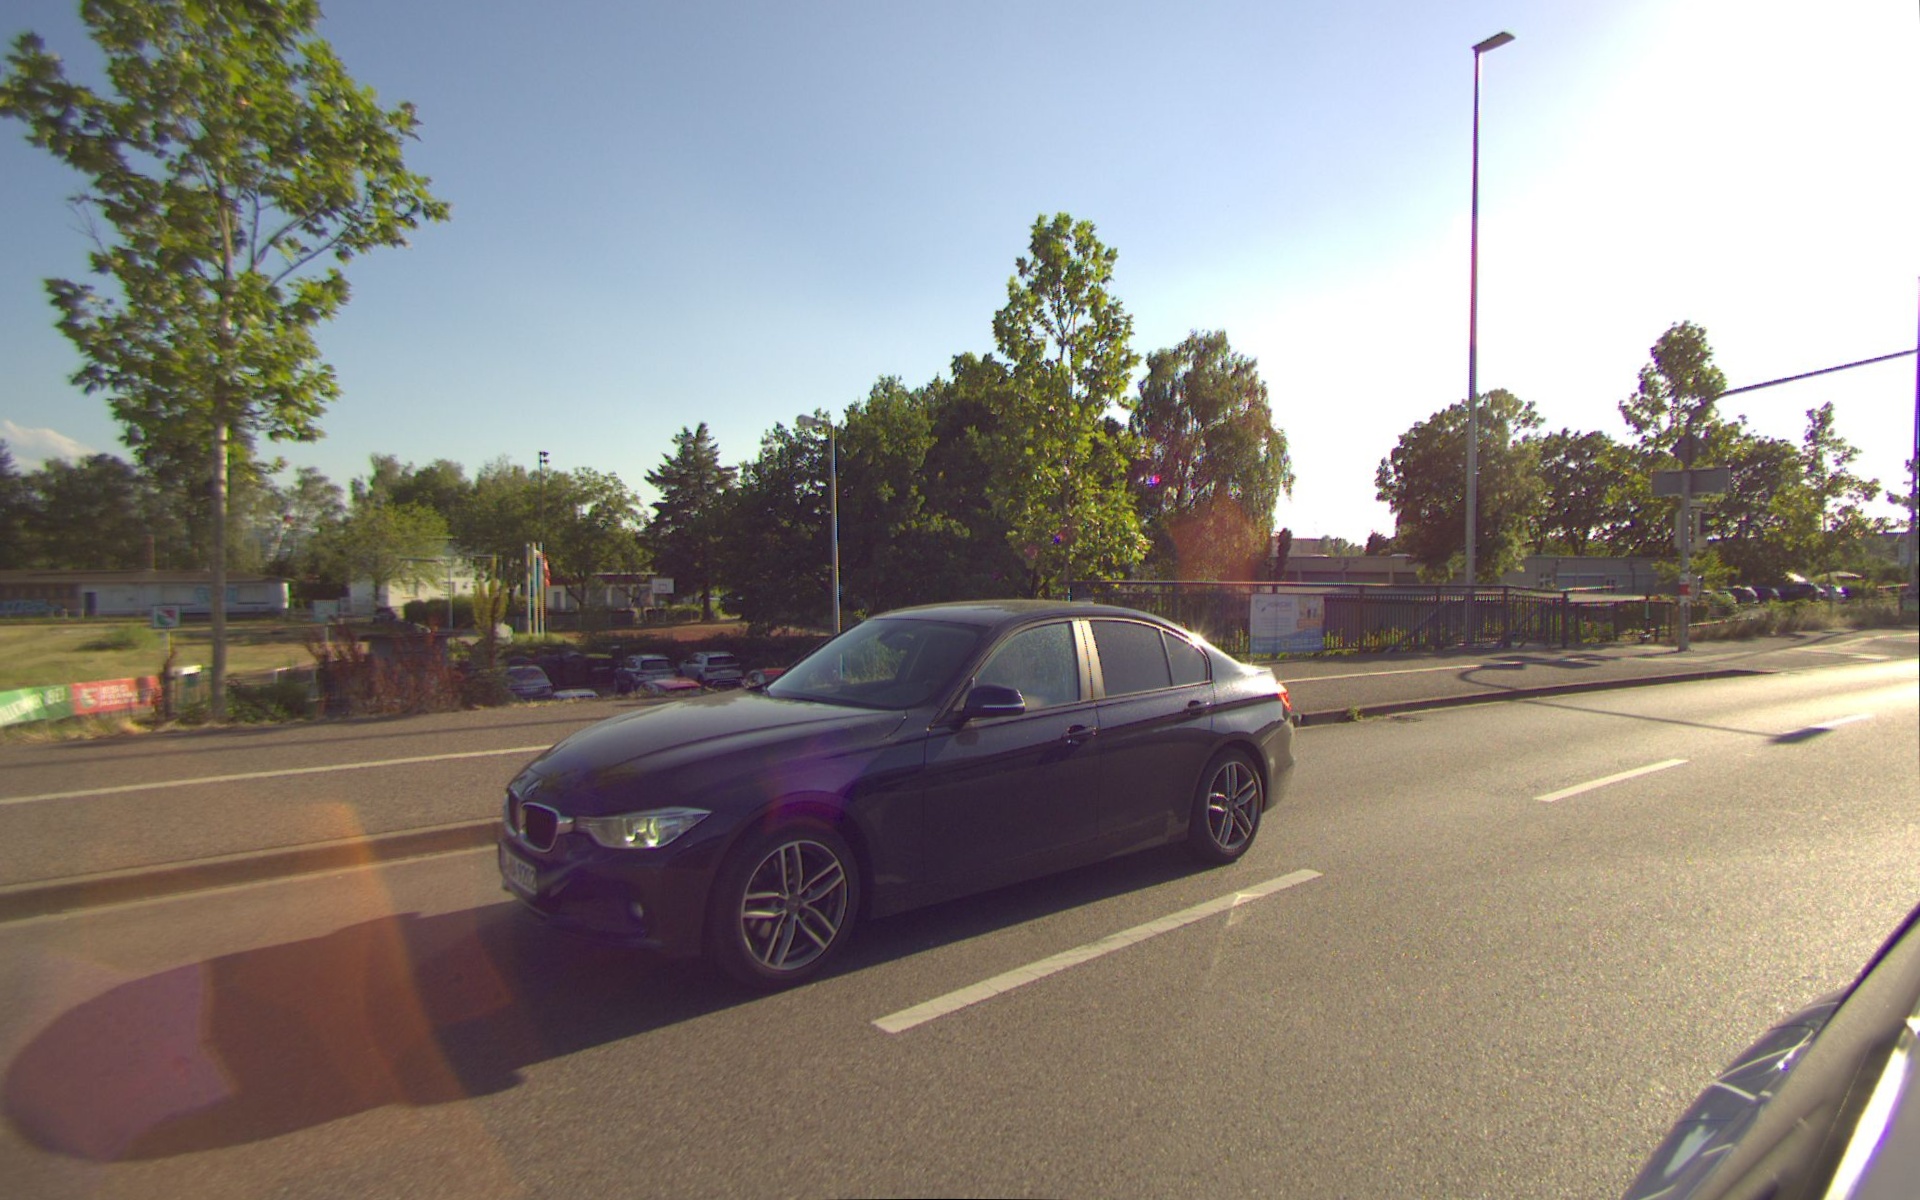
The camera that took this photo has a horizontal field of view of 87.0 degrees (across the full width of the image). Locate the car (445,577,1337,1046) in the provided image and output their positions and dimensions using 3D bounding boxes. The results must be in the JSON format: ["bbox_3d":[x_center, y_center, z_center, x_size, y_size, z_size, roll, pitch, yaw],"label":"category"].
[{"bbox_3d":[-0.051,0.630,5.376,4.504,1.485,1.870,-1,1,-40],"label":"car"}]

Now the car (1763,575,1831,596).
[{"bbox_3d":[67.774,-1.162,81.983,1.632,1.661,3.878,0,0,-33],"label":"car"}]

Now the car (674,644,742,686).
[{"bbox_3d":[-10.590,2.694,42.447,1.648,1.520,3.706,-1,0,-33],"label":"car"}]

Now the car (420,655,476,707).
[{"bbox_3d":[-18.930,2.945,37.373,1.549,1.596,3.519,-1,0,-32],"label":"car"}]

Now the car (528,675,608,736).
[{"bbox_3d":[-12.066,3.172,31.021,1.550,1.466,3.706,-1,0,-33],"label":"car"}]

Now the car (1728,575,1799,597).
[{"bbox_3d":[63.202,-1.077,79.668,1.653,1.606,4.032,0,0,-35],"label":"car"}]

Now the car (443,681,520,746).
[{"bbox_3d":[-13.967,3.227,29.441,1.550,1.466,3.706,-1,0,-33],"label":"car"}]

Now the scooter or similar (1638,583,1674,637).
[{"bbox_3d":[17.139,0.231,24.917,0.524,1.246,1.247,2,3,44],"label":"scooter or similar"}]

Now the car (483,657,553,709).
[{"bbox_3d":[-16.566,3.060,37.851,1.750,1.596,3.923,-1,0,-33],"label":"car"}]

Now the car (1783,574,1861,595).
[{"bbox_3d":[72.157,-1.272,84.767,1.823,1.589,4.663,0,0,-35],"label":"car"}]

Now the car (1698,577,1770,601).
[{"bbox_3d":[57.225,-0.816,74.877,1.674,1.687,3.921,-2,1,-34],"label":"car"}]

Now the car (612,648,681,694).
[{"bbox_3d":[-12.732,2.828,40.924,1.660,1.590,3.923,-1,0,-33],"label":"car"}]

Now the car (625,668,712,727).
[{"bbox_3d":[-9.306,3.041,32.133,1.635,1.468,3.706,-2,0,-33],"label":"car"}]
